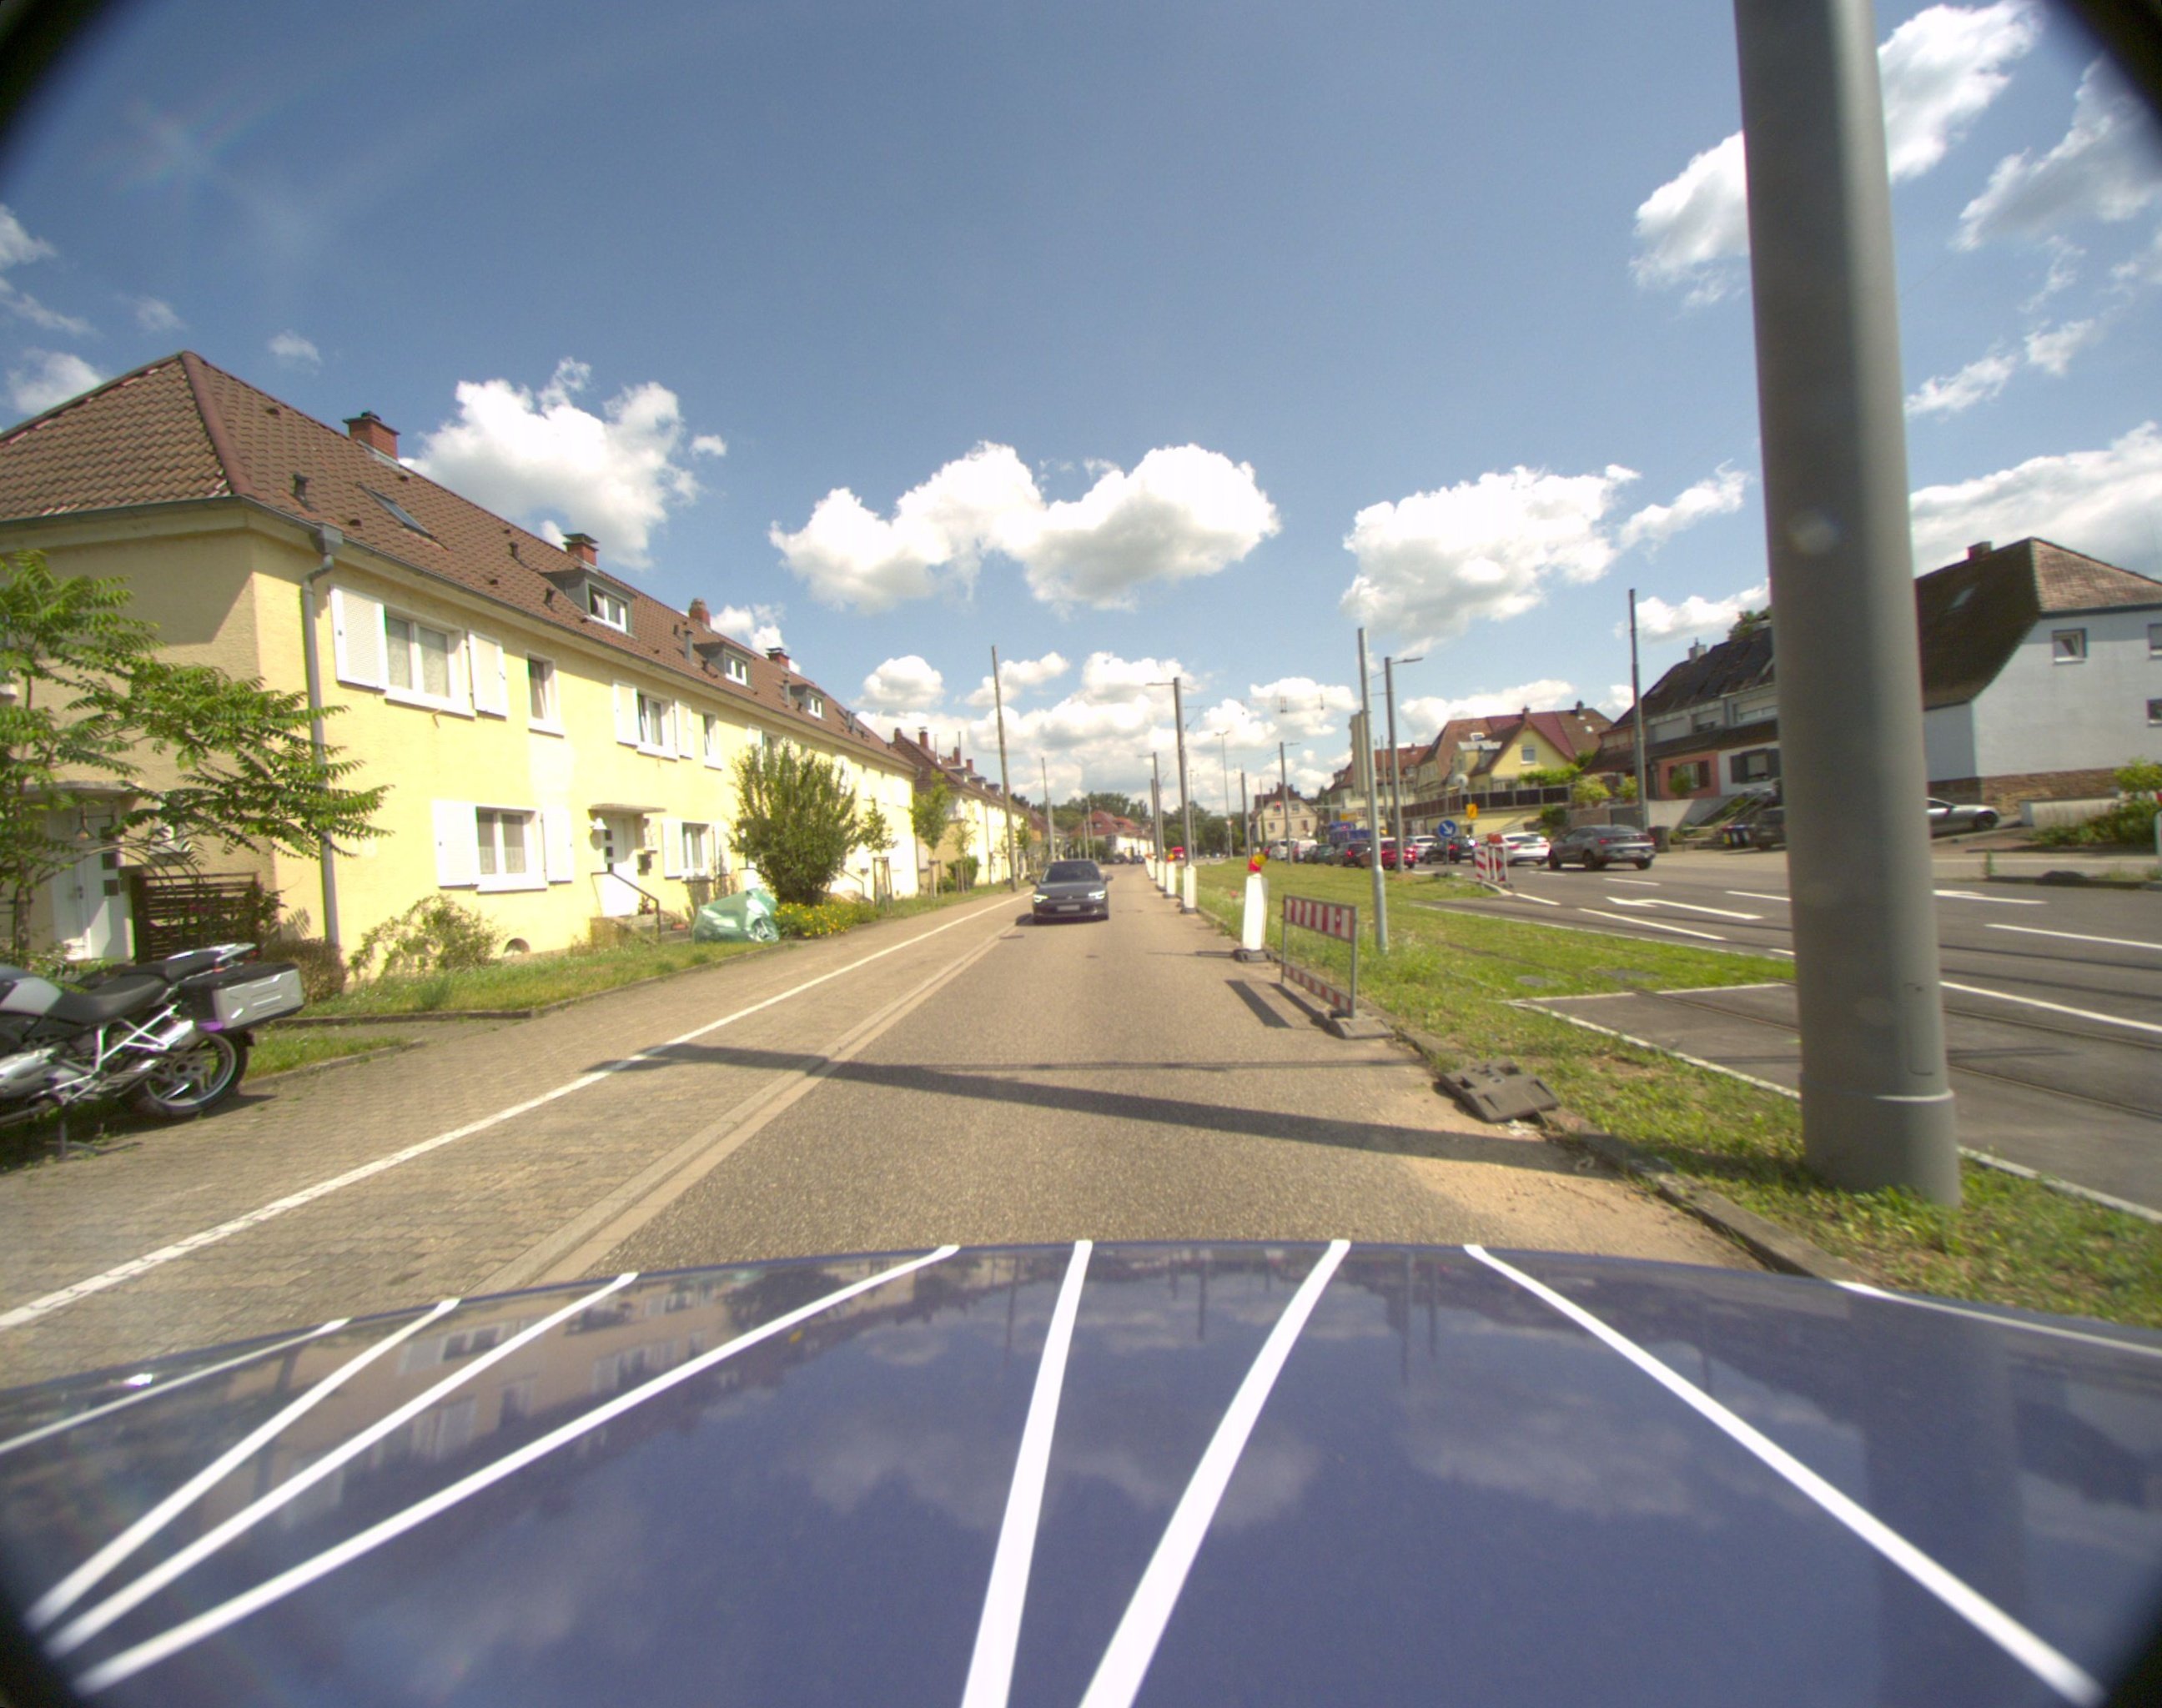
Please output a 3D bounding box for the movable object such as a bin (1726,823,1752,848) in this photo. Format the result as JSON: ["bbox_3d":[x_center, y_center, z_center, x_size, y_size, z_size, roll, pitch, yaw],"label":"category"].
[{"bbox_3d":[26.586,-0.743,30.718,0.517,0.947,0.583,-4,1,3],"label":"movable object such as a bin"}]

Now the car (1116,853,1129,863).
[{"bbox_3d":[6.478,0.615,119.378,1.879,1.544,4.986,-4,0,3],"label":"car"}]

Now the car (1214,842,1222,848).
[{"bbox_3d":[37.781,-2.557,209.325,1.721,1.582,4.174,-4,0,7],"label":"car"}]

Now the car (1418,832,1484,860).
[{"bbox_3d":[19.691,-0.426,40.659,1.729,1.327,4.543,-4,0,7],"label":"car"}]

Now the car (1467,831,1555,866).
[{"bbox_3d":[18.901,-0.261,33.627,1.729,1.327,4.543,-4,0,7],"label":"car"}]

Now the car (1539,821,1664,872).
[{"bbox_3d":[18.035,-0.261,26.643,1.728,1.518,4.773,-4,0,10],"label":"car"}]

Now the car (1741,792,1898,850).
[{"bbox_3d":[27.461,-1.184,28.337,3.997,1.835,1.802,-4,0,1],"label":"car"}]

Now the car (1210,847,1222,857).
[{"bbox_3d":[27.965,-0.377,157.488,2.283,1.862,4.989,-4,0,11],"label":"car"}]

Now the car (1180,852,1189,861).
[{"bbox_3d":[25.360,0.599,186.901,2.059,1.996,4.951,-3,1,8],"label":"car"}]

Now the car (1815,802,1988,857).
[{"bbox_3d":[27.419,-0.791,25.472,3.887,1.546,1.682,-4,0,1],"label":"car"}]

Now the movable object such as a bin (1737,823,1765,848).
[{"bbox_3d":[26.558,-0.721,30.121,0.517,0.947,0.610,-4,1,3],"label":"movable object such as a bin"}]

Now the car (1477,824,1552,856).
[{"bbox_3d":[23.432,-0.722,41.298,1.729,1.553,4.543,-4,0,5],"label":"car"}]

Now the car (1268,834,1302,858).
[{"bbox_3d":[17.809,-0.709,66.590,1.922,1.953,4.542,-4,0,4],"label":"car"}]

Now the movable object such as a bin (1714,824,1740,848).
[{"bbox_3d":[26.615,-0.735,31.301,0.517,0.947,0.583,-4,1,3],"label":"movable object such as a bin"}]

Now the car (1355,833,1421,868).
[{"bbox_3d":[15.404,-0.173,38.364,1.729,1.553,4.543,-4,0,5],"label":"car"}]

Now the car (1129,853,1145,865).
[{"bbox_3d":[7.589,0.654,102.815,1.879,1.544,4.986,-4,0,3],"label":"car"}]

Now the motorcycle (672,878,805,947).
[{"bbox_3d":[-6.902,1.171,15.375,2.232,1.190,0.854,-4,1,5],"label":"motorcycle"}]

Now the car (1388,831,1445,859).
[{"bbox_3d":[20.684,-0.526,47.055,1.729,1.553,4.543,-4,0,5],"label":"car"}]

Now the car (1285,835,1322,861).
[{"bbox_3d":[17.215,-0.495,59.092,1.729,1.843,4.542,-4,0,4],"label":"car"}]

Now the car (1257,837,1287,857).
[{"bbox_3d":[18.351,-0.646,73.077,1.922,1.770,4.542,-4,0,4],"label":"car"}]

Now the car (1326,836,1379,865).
[{"bbox_3d":[16.110,-0.229,45.275,1.729,1.553,4.645,-4,0,5],"label":"car"}]

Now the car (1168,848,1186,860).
[{"bbox_3d":[16.243,-0.012,128.572,2.285,1.862,4.985,-4,0,1],"label":"car"}]

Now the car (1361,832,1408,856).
[{"bbox_3d":[21.584,-0.687,54.271,1.729,1.553,4.542,-4,0,4],"label":"car"}]

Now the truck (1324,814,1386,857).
[{"bbox_3d":[22.158,-1.456,61.975,2.841,3.135,7.937,-4,0,7],"label":"truck"}]

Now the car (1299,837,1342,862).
[{"bbox_3d":[16.488,-0.341,52.531,1.729,1.553,4.542,-4,0,4],"label":"car"}]

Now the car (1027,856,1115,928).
[{"bbox_3d":[-0.111,0.864,19.238,1.742,1.513,4.703,-1,0,5],"label":"car"}]

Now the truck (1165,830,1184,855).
[{"bbox_3d":[21.012,-2.522,170.096,3.474,5.153,14.225,-4,0,9],"label":"truck"}]

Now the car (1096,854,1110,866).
[{"bbox_3d":[3.306,0.843,113.222,1.879,1.544,4.986,-4,0,3],"label":"car"}]

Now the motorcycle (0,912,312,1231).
[{"bbox_3d":[-5.882,1.145,3.935,1.049,1.462,2.585,-1,0,3],"label":"motorcycle"}]
